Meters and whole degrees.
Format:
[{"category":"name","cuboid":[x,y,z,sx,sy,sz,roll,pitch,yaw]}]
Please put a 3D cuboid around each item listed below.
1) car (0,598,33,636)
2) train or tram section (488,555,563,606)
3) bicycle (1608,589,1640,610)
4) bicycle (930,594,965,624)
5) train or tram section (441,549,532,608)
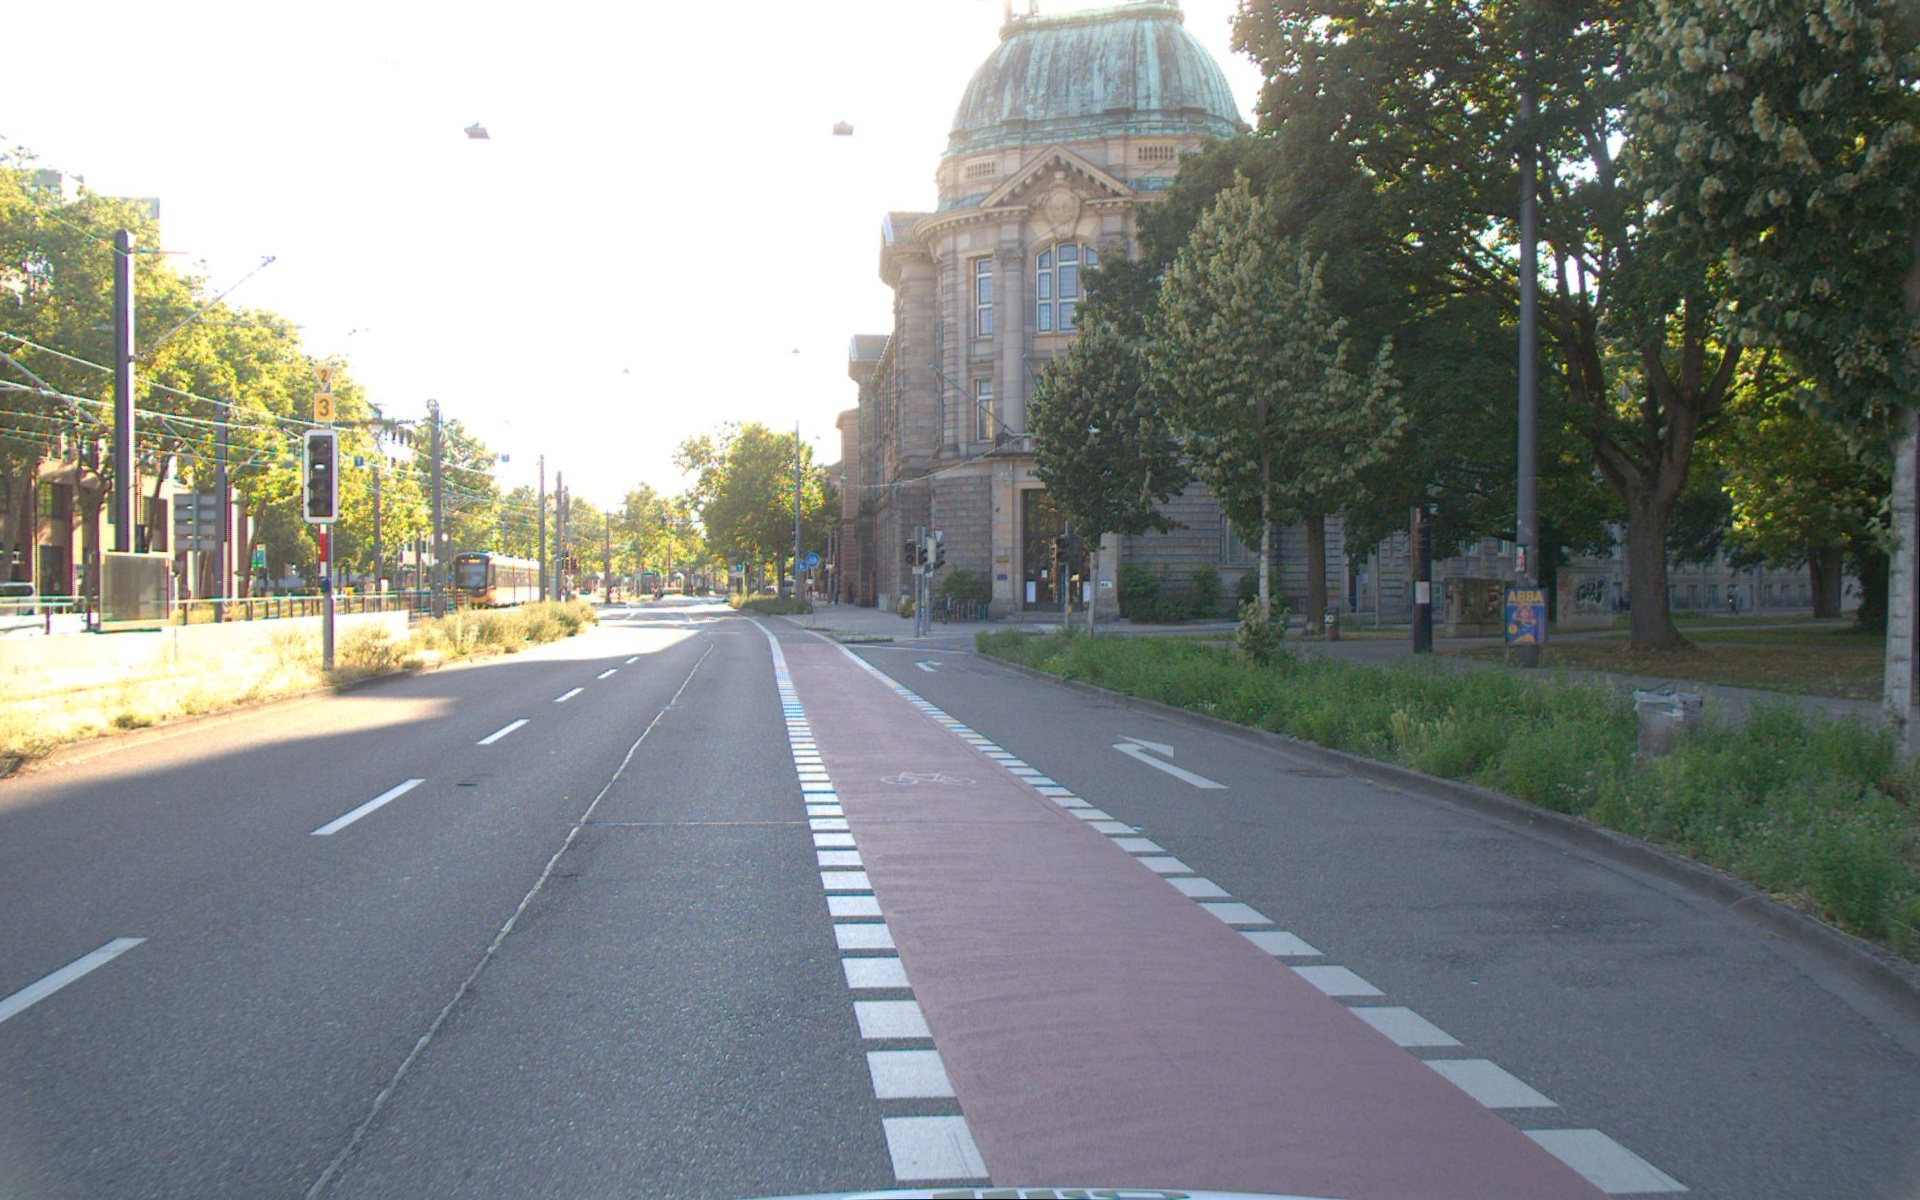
[{"category":"car","cuboid":[-40.958,0.722,69.506,1.726,1.612,4.728,-1,0,-6]},{"category":"train or tram section","cuboid":[-33.730,-1.456,129.188,3.053,3.621,19.900,-1,0,-7]},{"category":"bicycle","cuboid":[36.883,-0.019,91.856,1.964,1.120,0.842,0,2,-41]},{"category":"bicycle","cuboid":[-0.494,0.351,68.566,0.848,1.217,2.241,-1,0,16]},{"category":"train or tram section","cuboid":[-31.446,-1.372,110.634,3.053,3.621,17.452,-1,0,-7]}]
